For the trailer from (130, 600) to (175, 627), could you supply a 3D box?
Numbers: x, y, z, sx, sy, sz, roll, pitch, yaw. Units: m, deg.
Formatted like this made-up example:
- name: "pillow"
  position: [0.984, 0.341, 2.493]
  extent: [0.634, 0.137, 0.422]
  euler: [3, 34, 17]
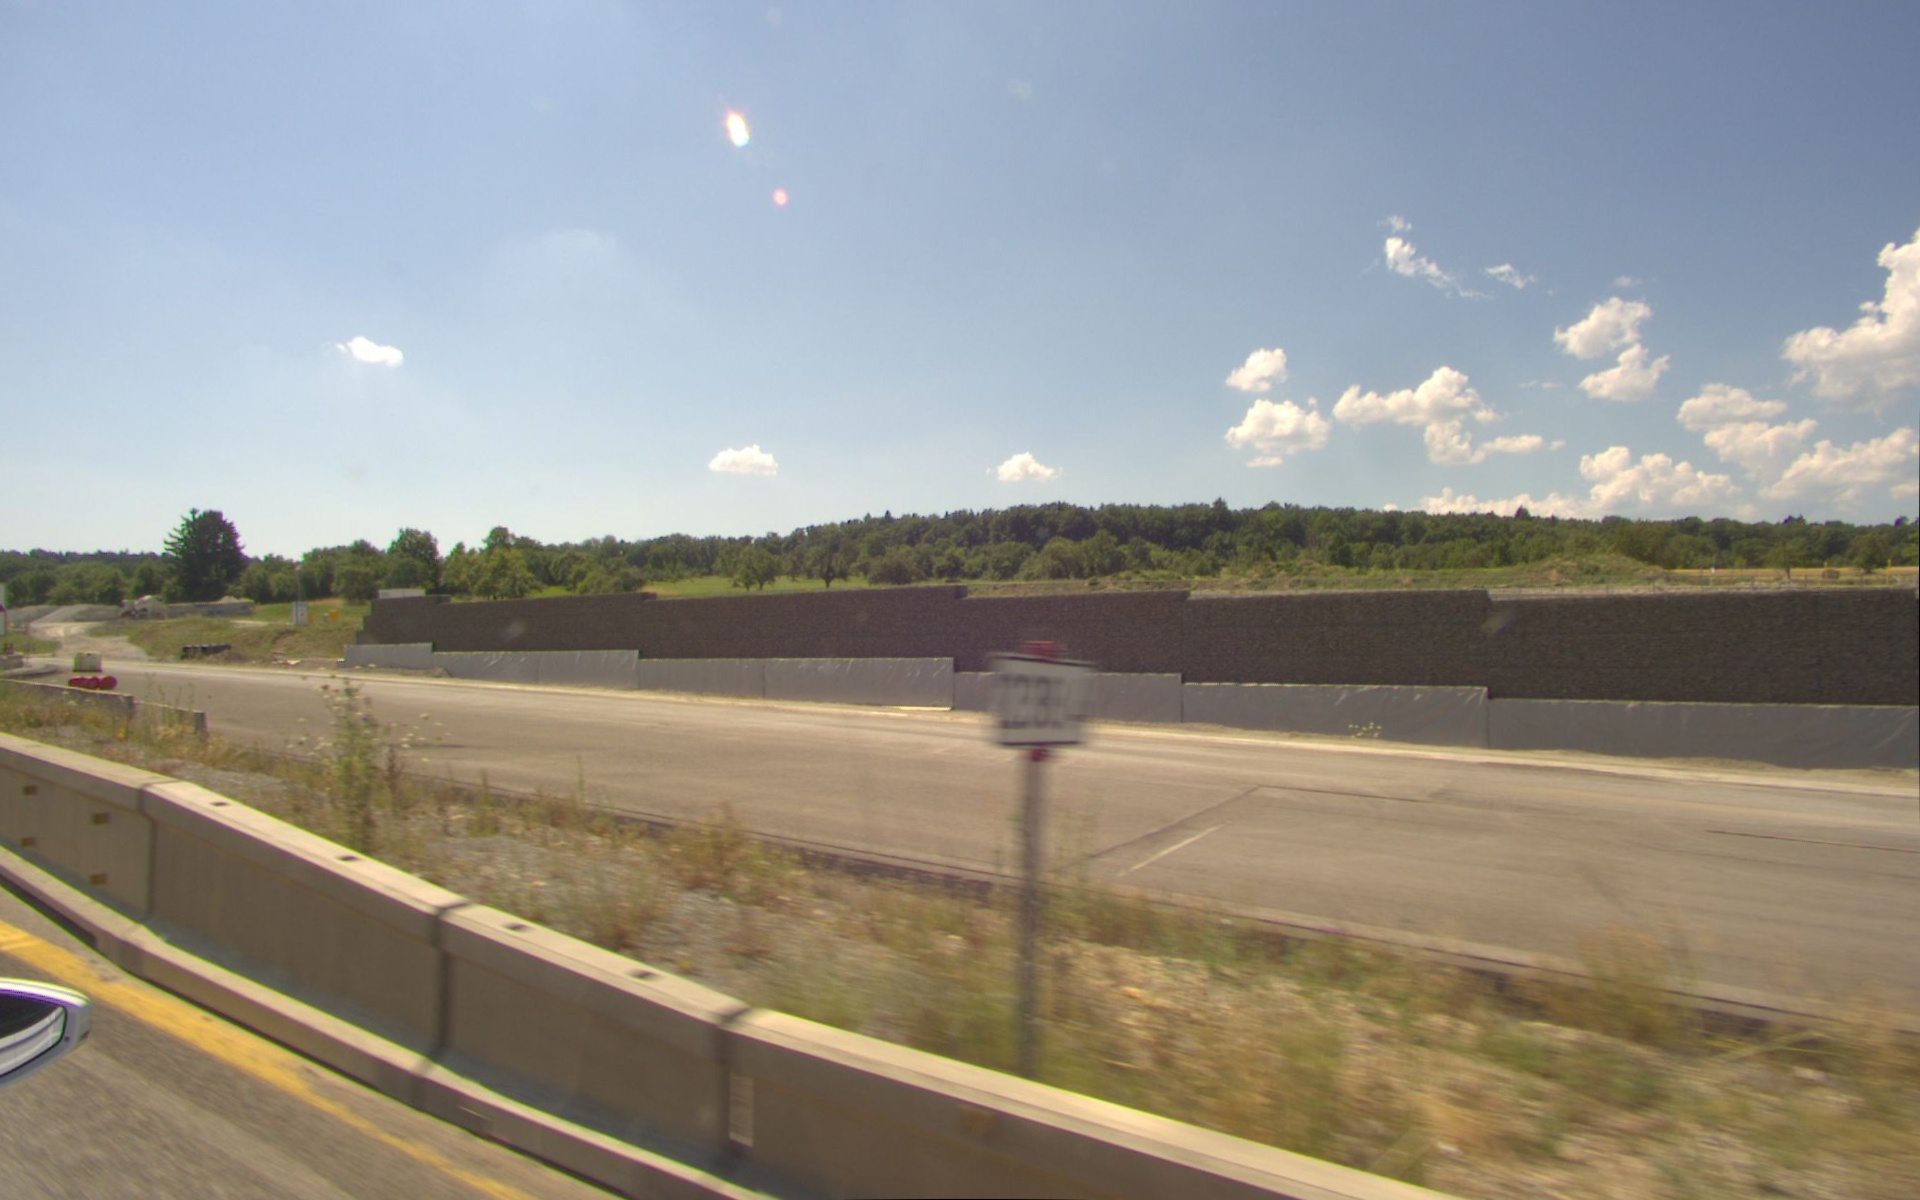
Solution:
- name: "trailer"
  position: [-126.060, 2.105, 156.309]
  extent: [6.635, 4.167, 2.757]
  euler: [-1, -1, 25]
